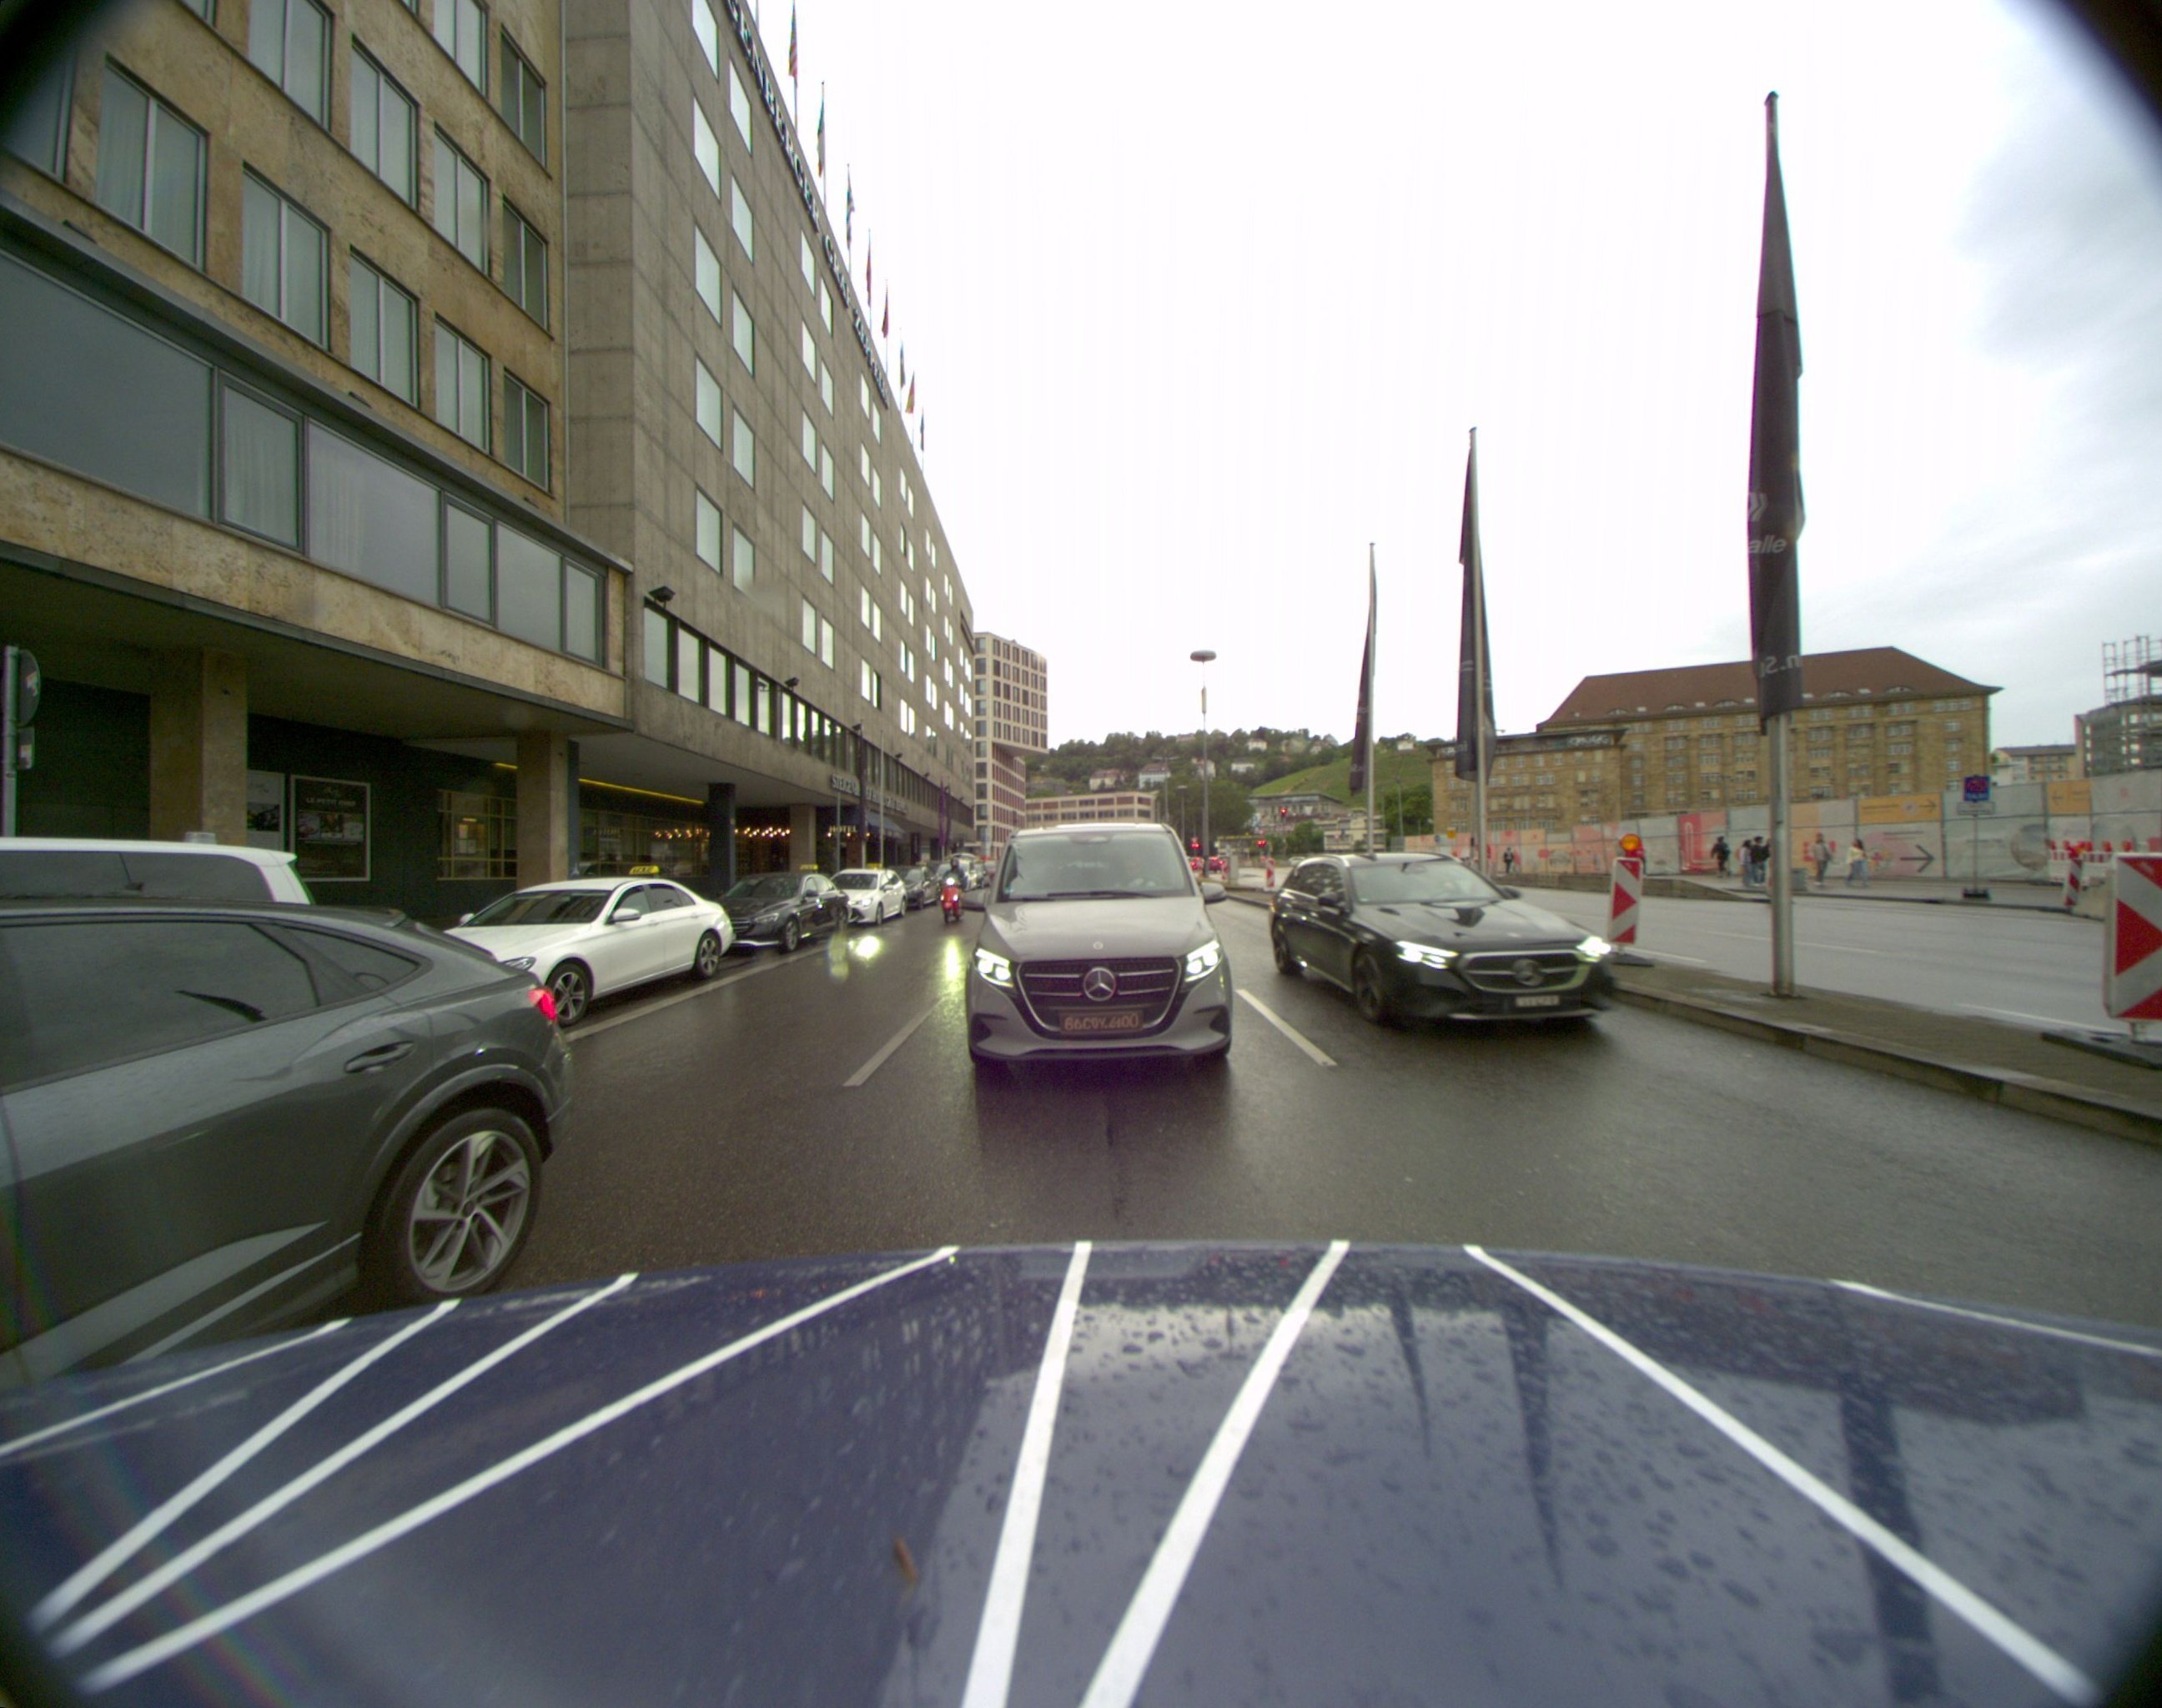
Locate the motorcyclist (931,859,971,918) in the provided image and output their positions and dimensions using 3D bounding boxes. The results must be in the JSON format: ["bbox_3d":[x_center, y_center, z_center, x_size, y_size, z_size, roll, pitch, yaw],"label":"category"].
[{"bbox_3d":[-3.486,0.903,20.443,0.861,1.519,0.844,-2,1,1],"label":"motorcyclist"}]

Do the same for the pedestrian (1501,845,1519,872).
[{"bbox_3d":[26.308,0.275,46.601,0.715,1.606,0.544,-2,1,1],"label":"pedestrian"}]

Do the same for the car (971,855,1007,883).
[{"bbox_3d":[-5.878,0.916,48.902,1.731,1.604,4.001,-2,1,0],"label":"car"}]

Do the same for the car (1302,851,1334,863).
[{"bbox_3d":[32.677,0.435,104.860,3.993,1.622,2.002,-1,0,14],"label":"car"}]

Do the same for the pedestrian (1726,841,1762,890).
[{"bbox_3d":[23.928,0.396,27.427,0.714,1.723,0.718,-2,1,19],"label":"pedestrian"}]

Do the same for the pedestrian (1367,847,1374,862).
[{"bbox_3d":[31.720,0.107,83.230,0.715,1.606,0.544,-2,1,18],"label":"pedestrian"}]

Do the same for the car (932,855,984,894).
[{"bbox_3d":[-6.095,0.958,38.216,1.731,1.732,4.814,-2,1,0],"label":"car"}]

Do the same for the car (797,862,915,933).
[{"bbox_3d":[-6.046,1.092,21.033,1.731,1.583,4.814,-2,1,0],"label":"car"}]

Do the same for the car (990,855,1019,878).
[{"bbox_3d":[-5.910,0.966,59.222,1.731,1.604,4.001,-2,1,0],"label":"car"}]

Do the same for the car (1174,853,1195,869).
[{"bbox_3d":[11.816,0.737,86.733,1.785,1.684,3.916,-2,1,-1],"label":"car"}]

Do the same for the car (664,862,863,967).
[{"bbox_3d":[-6.079,1.051,15.305,1.879,1.628,4.814,-2,1,0],"label":"car"}]

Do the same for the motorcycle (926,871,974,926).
[{"bbox_3d":[-3.481,1.155,20.363,0.848,1.299,1.965,-2,1,1],"label":"motorcycle"}]

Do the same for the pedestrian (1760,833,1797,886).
[{"bbox_3d":[24.801,0.193,27.035,0.714,1.825,0.718,-2,1,19],"label":"pedestrian"}]

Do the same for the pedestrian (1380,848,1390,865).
[{"bbox_3d":[29.299,0.281,73.277,0.715,1.606,0.544,-2,1,1],"label":"pedestrian"}]

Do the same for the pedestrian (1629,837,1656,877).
[{"bbox_3d":[26.015,0.124,35.219,0.664,1.825,0.720,-2,1,1],"label":"pedestrian"}]

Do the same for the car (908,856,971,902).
[{"bbox_3d":[-6.057,0.998,33.019,1.731,1.732,4.814,-2,1,0],"label":"car"}]

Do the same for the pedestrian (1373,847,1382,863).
[{"bbox_3d":[30.650,0.110,78.509,0.715,1.606,0.544,-2,1,1],"label":"pedestrian"}]

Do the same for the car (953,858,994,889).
[{"bbox_3d":[-6.131,1.067,43.723,1.731,1.604,4.001,-2,1,0],"label":"car"}]

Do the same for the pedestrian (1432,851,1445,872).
[{"bbox_3d":[28.260,0.564,60.009,0.715,1.606,0.544,-2,1,1],"label":"pedestrian"}]

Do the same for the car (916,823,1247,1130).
[{"bbox_3d":[0.044,0.750,7.326,1.998,1.849,5.160,-2,1,1],"label":"car"}]

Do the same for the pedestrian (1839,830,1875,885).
[{"bbox_3d":[26.093,0.109,25.549,0.661,1.825,0.556,-2,1,21],"label":"pedestrian"}]

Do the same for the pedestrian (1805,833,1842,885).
[{"bbox_3d":[25.486,0.170,26.083,0.714,1.734,0.564,-2,1,21],"label":"pedestrian"}]

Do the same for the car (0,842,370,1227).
[{"bbox_3d":[-6.327,0.936,3.219,1.879,1.909,4.935,-2,1,0],"label":"car"}]

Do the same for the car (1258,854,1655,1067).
[{"bbox_3d":[3.300,0.786,7.883,1.860,1.461,4.586,-2,1,1],"label":"car"}]

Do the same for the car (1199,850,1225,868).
[{"bbox_3d":[12.410,0.477,72.227,1.785,1.684,3.916,-1,0,0],"label":"car"}]

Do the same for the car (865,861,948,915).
[{"bbox_3d":[-6.049,1.122,26.848,1.731,1.583,4.814,-2,1,0],"label":"car"}]

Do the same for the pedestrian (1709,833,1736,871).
[{"bbox_3d":[27.924,-0.097,33.082,0.715,1.606,0.544,-2,1,1],"label":"pedestrian"}]

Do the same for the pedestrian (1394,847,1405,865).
[{"bbox_3d":[28.005,0.168,66.769,0.715,1.606,0.544,-2,1,1],"label":"pedestrian"}]

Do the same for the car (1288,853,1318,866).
[{"bbox_3d":[34.348,0.835,117.809,4.194,1.846,1.832,-2,1,6],"label":"car"}]

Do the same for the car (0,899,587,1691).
[{"bbox_3d":[-3.177,0.997,1.158,1.883,1.493,4.342,-2,1,1],"label":"car"}]

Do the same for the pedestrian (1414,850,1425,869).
[{"bbox_3d":[28.653,0.439,64.309,0.715,1.606,0.544,-2,1,1],"label":"pedestrian"}]

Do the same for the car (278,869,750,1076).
[{"bbox_3d":[-6.097,1.101,9.221,1.879,1.628,5.010,-2,1,0],"label":"car"}]

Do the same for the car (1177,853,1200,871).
[{"bbox_3d":[11.316,0.810,80.024,1.785,1.684,3.916,-2,1,-1],"label":"car"}]

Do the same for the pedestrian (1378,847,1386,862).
[{"bbox_3d":[32.728,0.020,82.643,0.714,1.606,0.544,-2,1,19],"label":"pedestrian"}]
